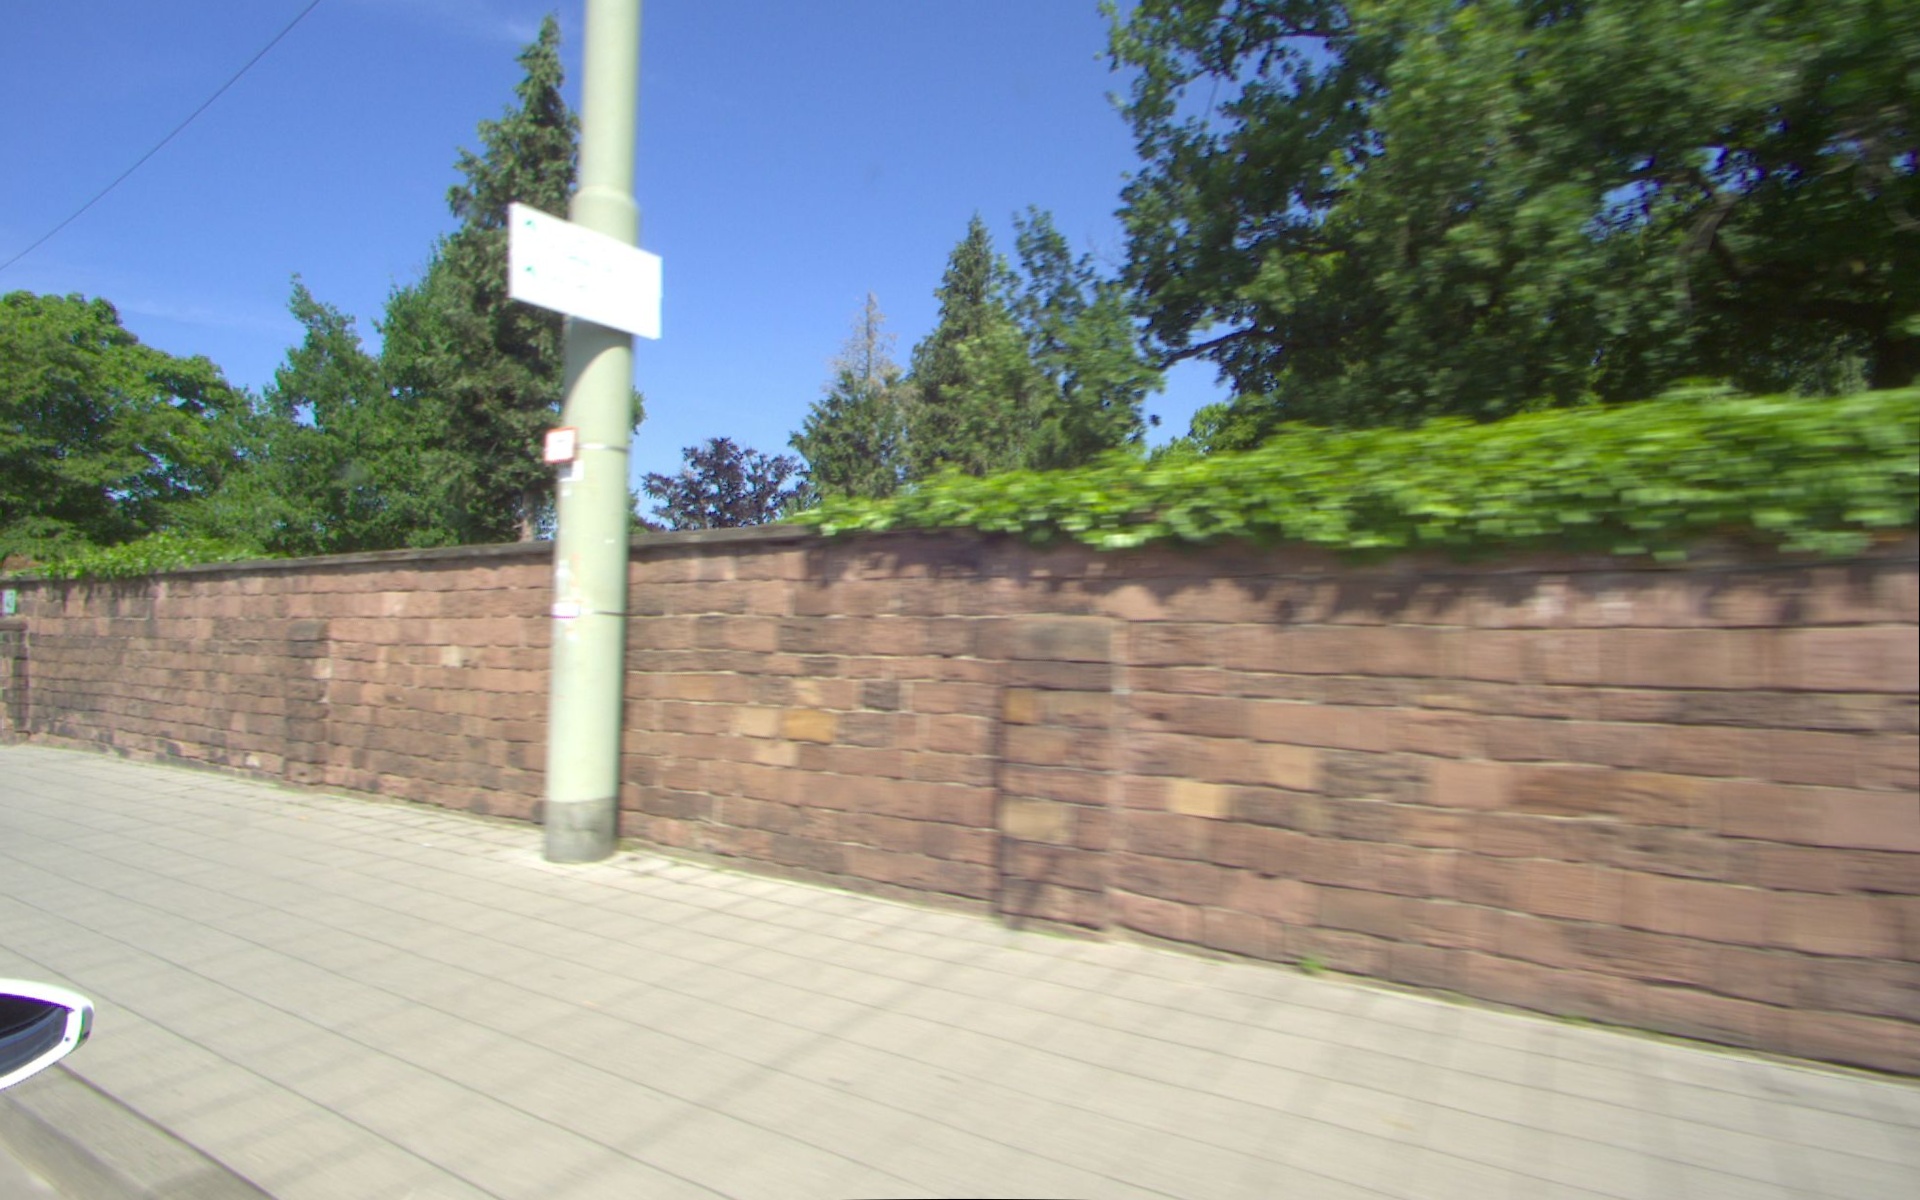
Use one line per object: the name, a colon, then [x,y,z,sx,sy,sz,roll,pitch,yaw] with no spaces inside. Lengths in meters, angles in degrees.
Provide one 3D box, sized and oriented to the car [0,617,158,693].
car: [-19.136,1.141,20.895,1.502,1.482,3.404,0,-3,32]
